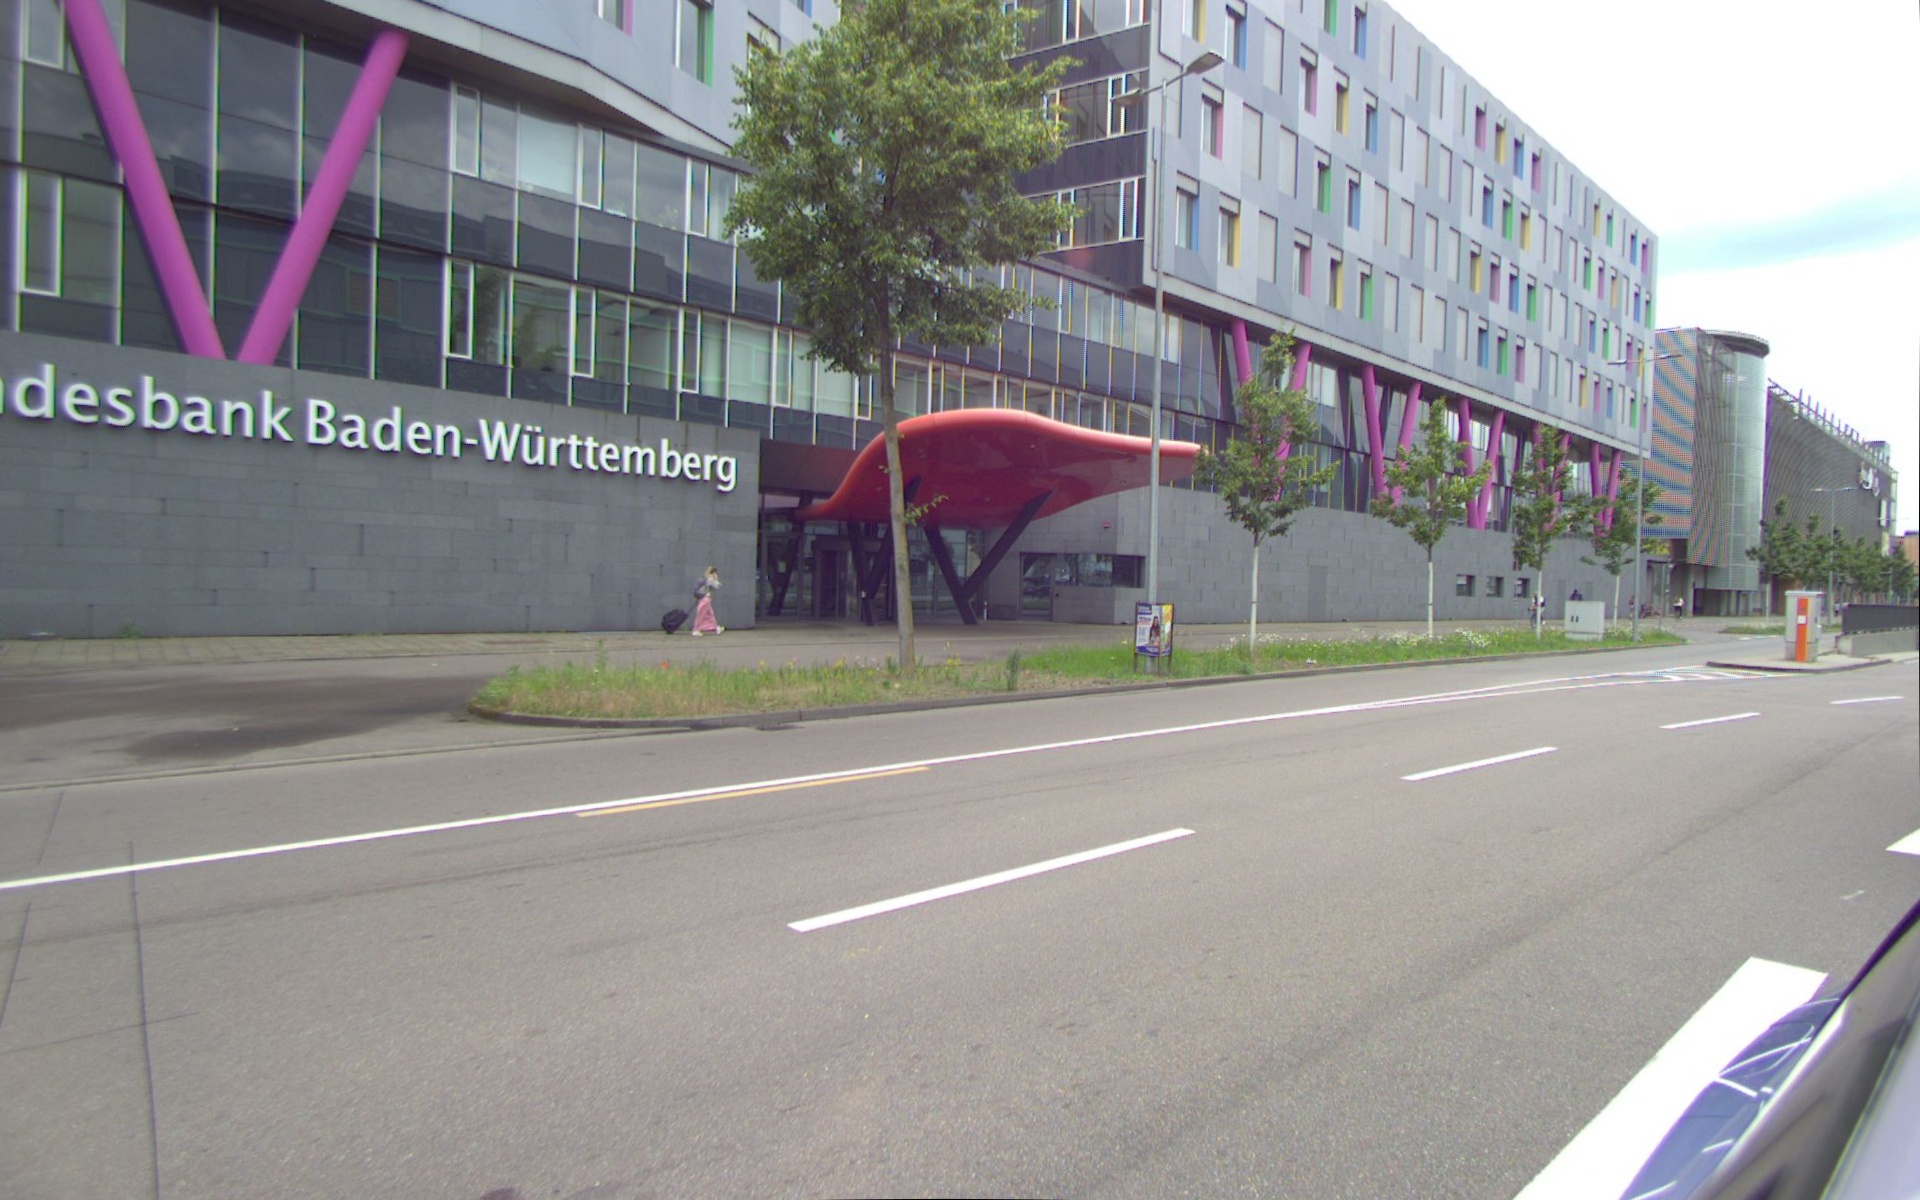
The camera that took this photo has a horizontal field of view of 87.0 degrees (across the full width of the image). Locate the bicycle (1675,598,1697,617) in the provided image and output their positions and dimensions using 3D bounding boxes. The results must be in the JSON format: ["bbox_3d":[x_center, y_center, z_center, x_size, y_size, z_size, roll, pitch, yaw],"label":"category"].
[{"bbox_3d":[49.190,0.508,68.545,2.183,1.209,0.784,1,1,-44],"label":"bicycle"}]

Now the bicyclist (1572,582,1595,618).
[{"bbox_3d":[32.618,0.022,52.945,0.692,1.826,0.783,6,-3,-41],"label":"bicyclist"}]

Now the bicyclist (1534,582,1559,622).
[{"bbox_3d":[27.185,0.110,46.905,0.692,1.825,0.783,2,-1,-41],"label":"bicyclist"}]

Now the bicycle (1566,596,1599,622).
[{"bbox_3d":[32.562,0.468,52.915,2.303,1.173,0.800,6,-3,-42],"label":"bicycle"}]

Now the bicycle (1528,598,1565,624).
[{"bbox_3d":[27.199,0.513,46.926,2.304,1.173,0.800,2,0,-42],"label":"bicycle"}]

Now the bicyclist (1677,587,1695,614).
[{"bbox_3d":[49.215,0.050,68.558,0.957,1.809,0.771,1,1,-42],"label":"bicyclist"}]

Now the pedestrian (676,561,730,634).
[{"bbox_3d":[-5.809,-0.066,22.892,0.898,1.602,0.786,1,1,-40],"label":"pedestrian"}]

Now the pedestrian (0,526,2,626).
[{"bbox_3d":[-14.166,-0.172,14.078,1.116,1.792,1.054,1,1,-40],"label":"pedestrian"}]
